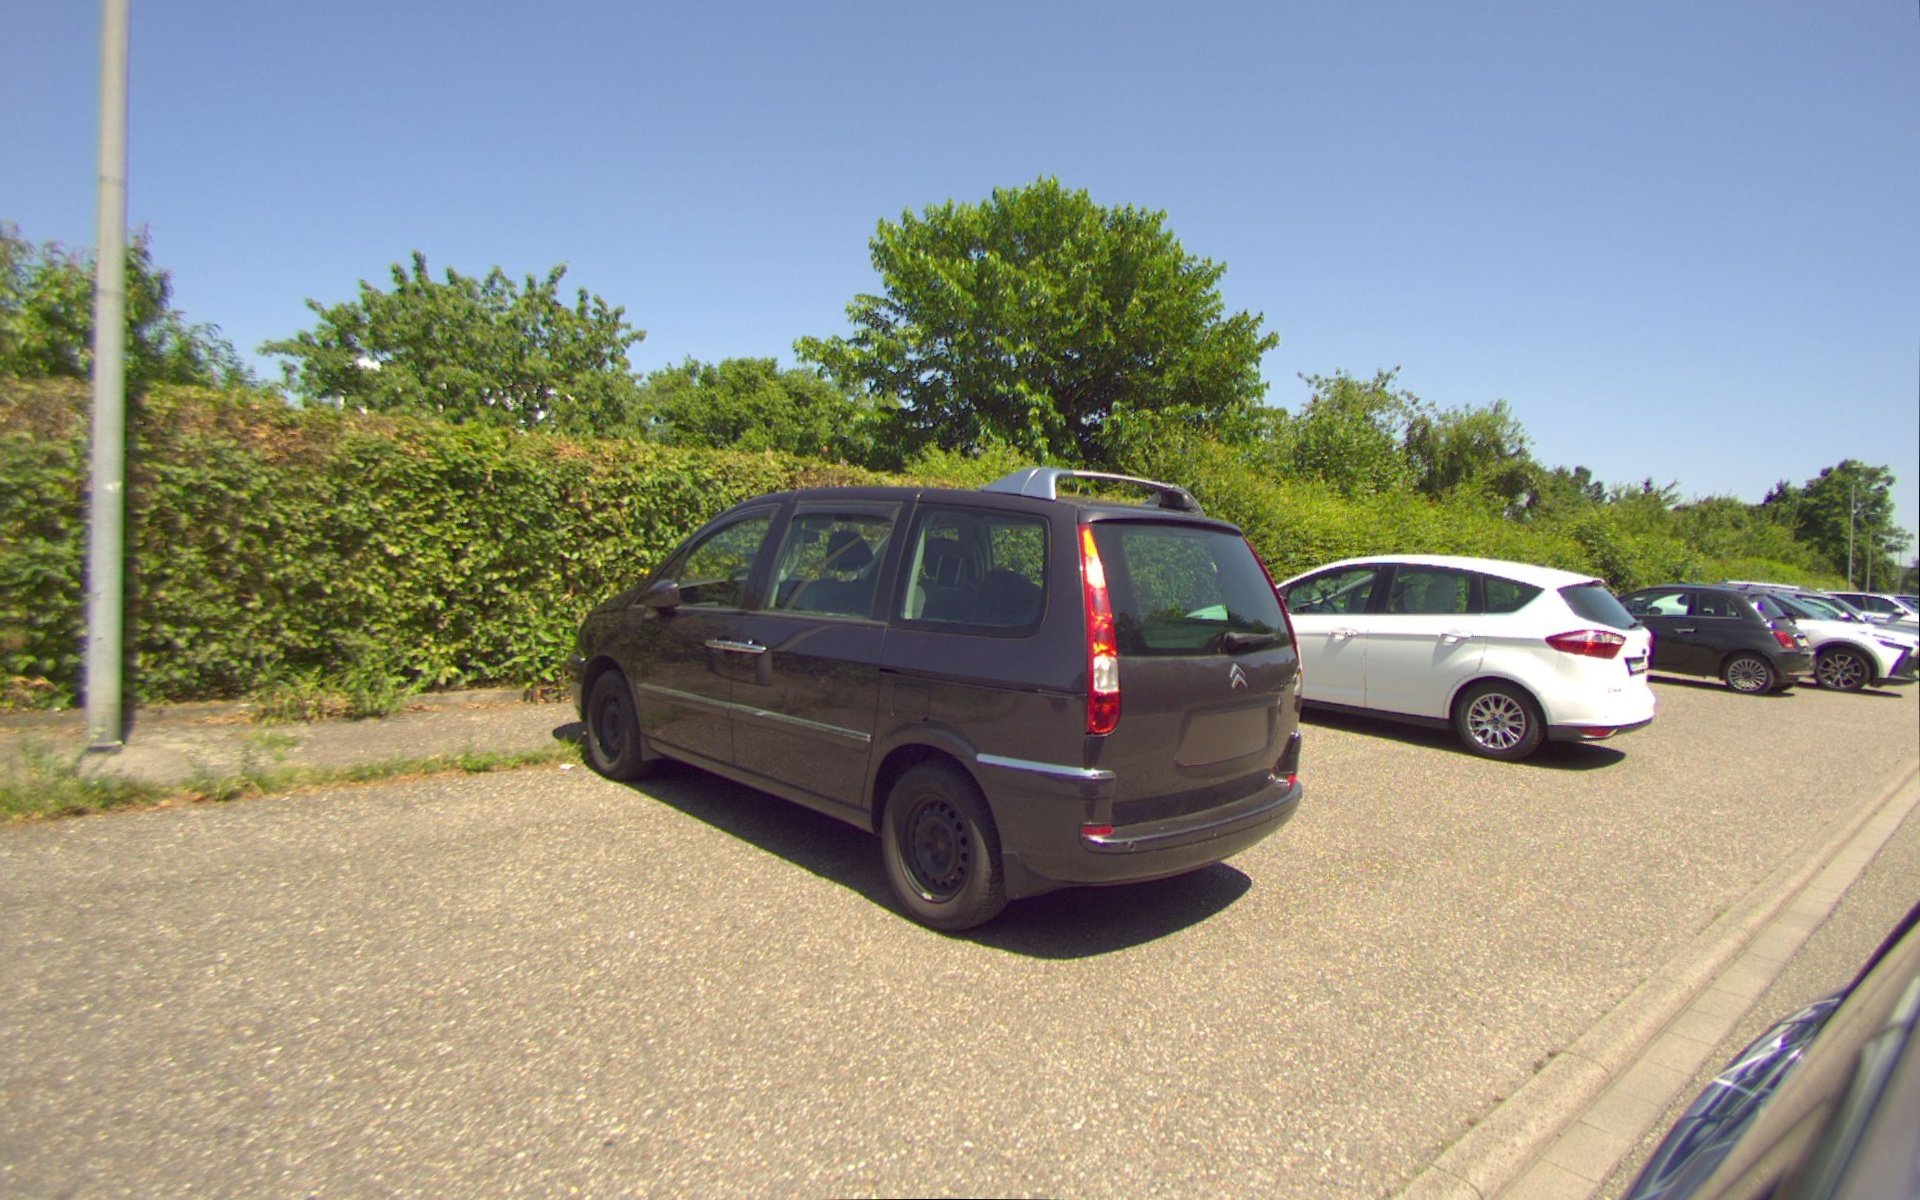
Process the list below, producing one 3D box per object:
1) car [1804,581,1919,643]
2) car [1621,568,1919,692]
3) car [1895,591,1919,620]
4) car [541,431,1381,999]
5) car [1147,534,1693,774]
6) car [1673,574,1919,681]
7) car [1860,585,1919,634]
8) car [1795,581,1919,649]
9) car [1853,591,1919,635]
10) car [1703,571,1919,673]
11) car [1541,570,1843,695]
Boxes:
[{"bbox_3d":[29.248,0.389,31.749,1.736,1.706,3.981,0,4,-42],"label":"car"},{"bbox_3d":[13.776,0.418,17.137,3.966,1.540,1.835,8,5,43],"label":"car"},{"bbox_3d":[65.915,0.511,67.927,4.484,1.873,1.669,7,5,44],"label":"car"},{"bbox_3d":[-0.386,0.177,5.489,1.921,1.826,4.458,0,5,-45],"label":"car"},{"bbox_3d":[4.067,0.298,9.553,1.735,1.597,4.284,1,4,-43],"label":"car"},{"bbox_3d":[15.739,0.440,19.093,3.456,1.545,1.515,8,5,44],"label":"car"},{"bbox_3d":[36.612,0.448,37.934,1.645,1.661,4.035,0,5,-42],"label":"car"},{"bbox_3d":[27.559,0.449,29.646,1.819,1.750,4.464,-1,5,-41],"label":"car"},{"bbox_3d":[34.553,0.548,35.942,1.651,1.426,4.034,0,5,-43],"label":"car"},{"bbox_3d":[18.035,0.420,20.940,1.637,1.659,3.965,1,6,-45],"label":"car"},{"bbox_3d":[11.139,0.416,15.578,1.558,1.522,3.399,2,3,-38],"label":"car"}]
